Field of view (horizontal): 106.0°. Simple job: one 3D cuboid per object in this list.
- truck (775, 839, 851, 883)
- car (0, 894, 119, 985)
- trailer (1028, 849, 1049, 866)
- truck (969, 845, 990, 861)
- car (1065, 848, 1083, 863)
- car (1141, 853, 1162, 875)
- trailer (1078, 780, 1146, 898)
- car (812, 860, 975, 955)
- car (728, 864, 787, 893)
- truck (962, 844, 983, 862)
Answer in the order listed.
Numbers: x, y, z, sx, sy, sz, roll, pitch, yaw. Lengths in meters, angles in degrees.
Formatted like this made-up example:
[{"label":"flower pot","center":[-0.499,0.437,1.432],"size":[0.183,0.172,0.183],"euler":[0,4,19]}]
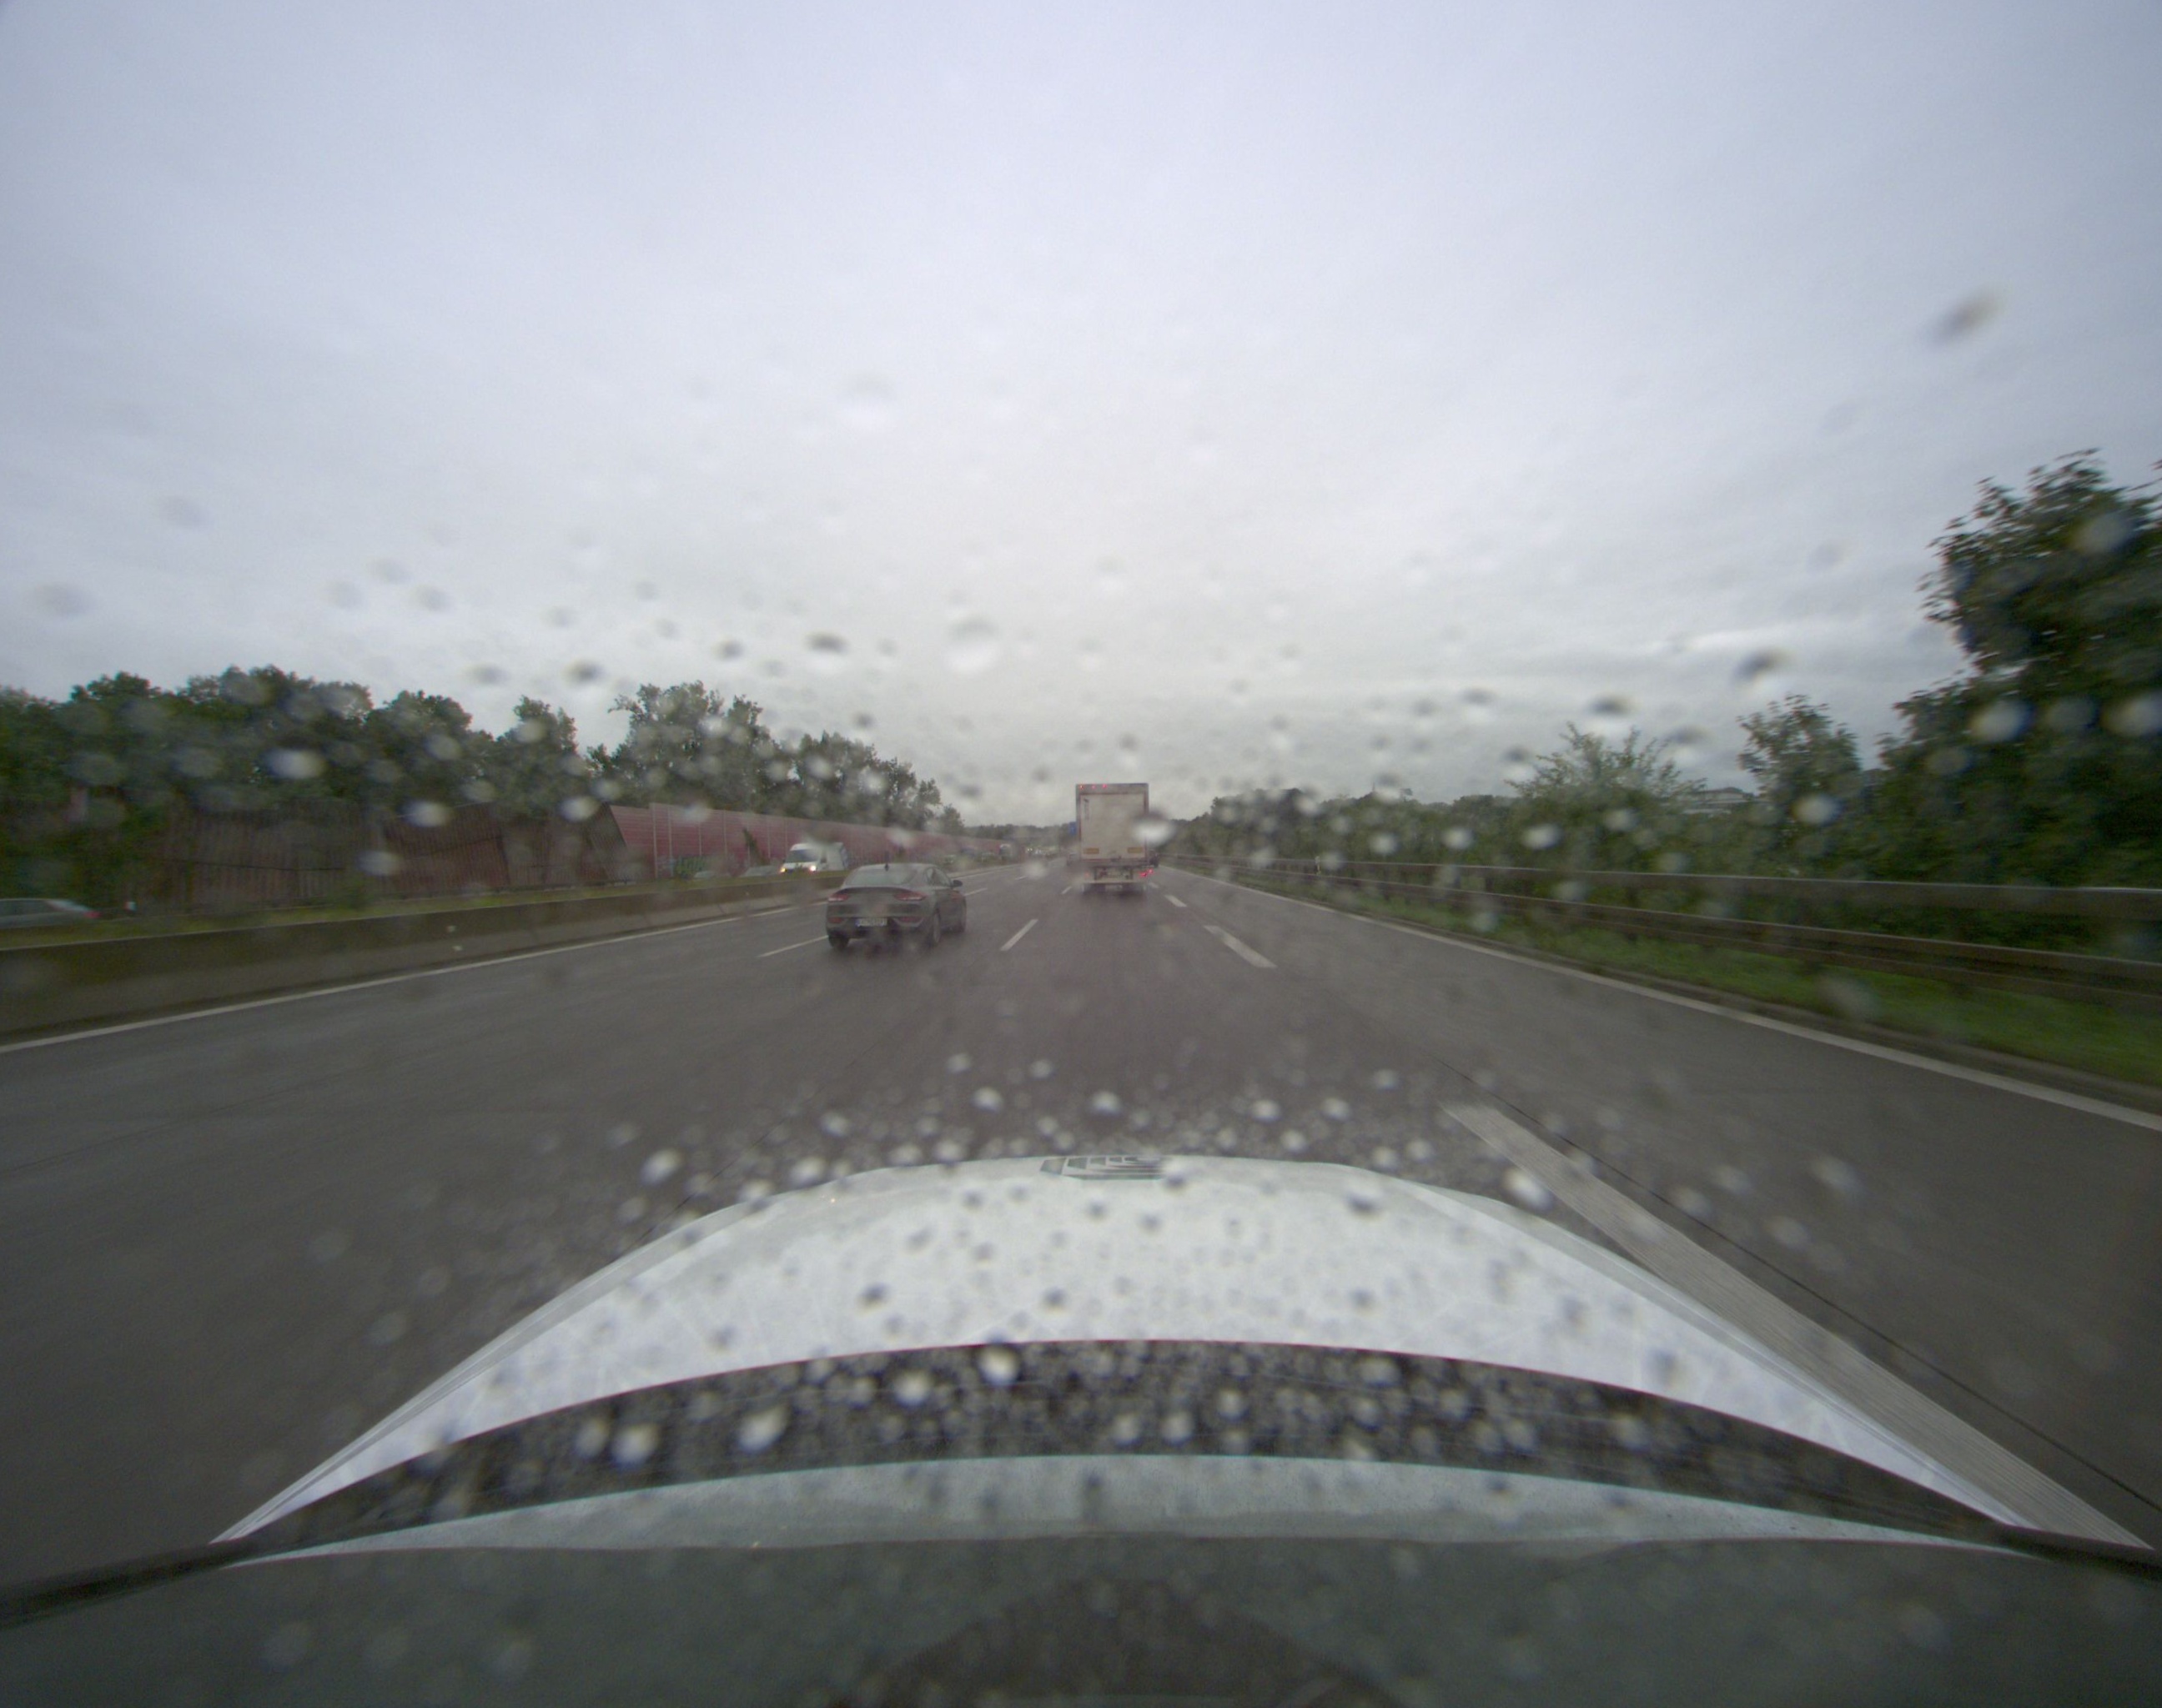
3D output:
[{"label":"truck","center":[-14.696,0.356,45.072],"size":[2.136,2.205,5.422],"euler":[-1,0,3]},{"label":"car","center":[-26.523,2.106,19.549],"size":[1.985,2.013,4.003],"euler":[-1,0,2]},{"label":"trailer","center":[-4.547,0.355,87.373],"size":[1.808,1.624,4.570],"euler":[-1,1,2]},{"label":"truck","center":[-21.261,-0.243,171.165],"size":[2.962,3.350,8.702],"euler":[0,0,1]},{"label":"car","center":[-0.740,0.132,92.942],"size":[1.887,1.723,4.002],"euler":[0,0,2]},{"label":"car","center":[6.605,0.914,76.867],"size":[1.889,1.949,4.004],"euler":[0,0,3]},{"label":"trailer","center":[1.353,-0.702,36.013],"size":[2.333,4.156,14.836],"euler":[0,1,2]},{"label":"car","center":[-3.218,0.849,15.031],"size":[1.719,1.403,4.831],"euler":[-1,0,2]},{"label":"car","center":[-21.155,1.579,53.491],"size":[1.985,1.739,4.267],"euler":[-1,0,2]},{"label":"truck","center":[-21.463,-0.190,161.638],"size":[2.703,3.350,10.435],"euler":[0,0,1]}]
